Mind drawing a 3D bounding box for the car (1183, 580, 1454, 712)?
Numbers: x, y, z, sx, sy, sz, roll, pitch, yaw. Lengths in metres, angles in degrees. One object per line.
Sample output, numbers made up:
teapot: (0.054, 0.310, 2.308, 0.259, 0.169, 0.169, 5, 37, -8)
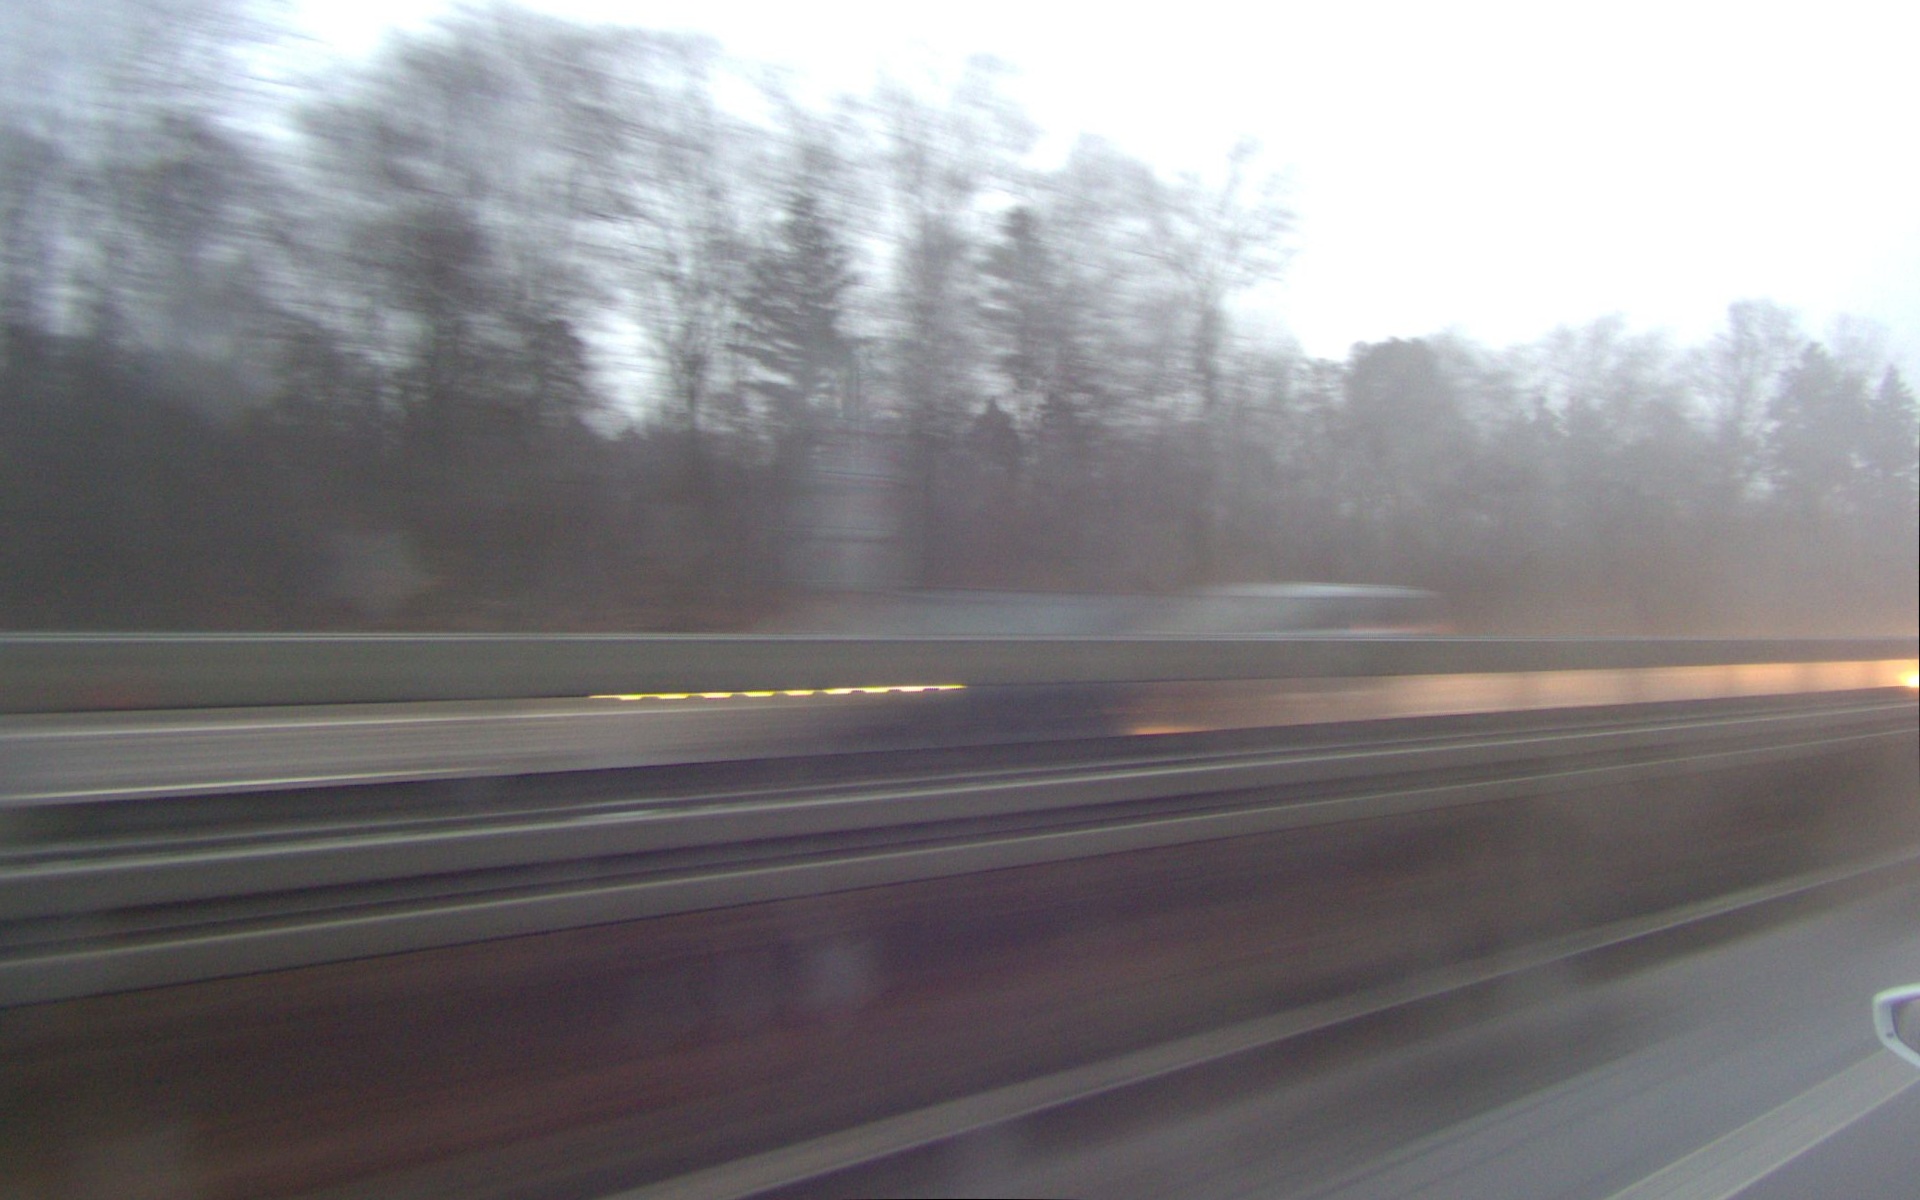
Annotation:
car: (5.616, 0.671, 15.684, 3.952, 1.823, 1.846, 1, 0, -30)

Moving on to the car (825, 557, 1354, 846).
car: (1.268, 0.748, 8.982, 4.549, 2.009, 1.841, 1, 0, -32)
